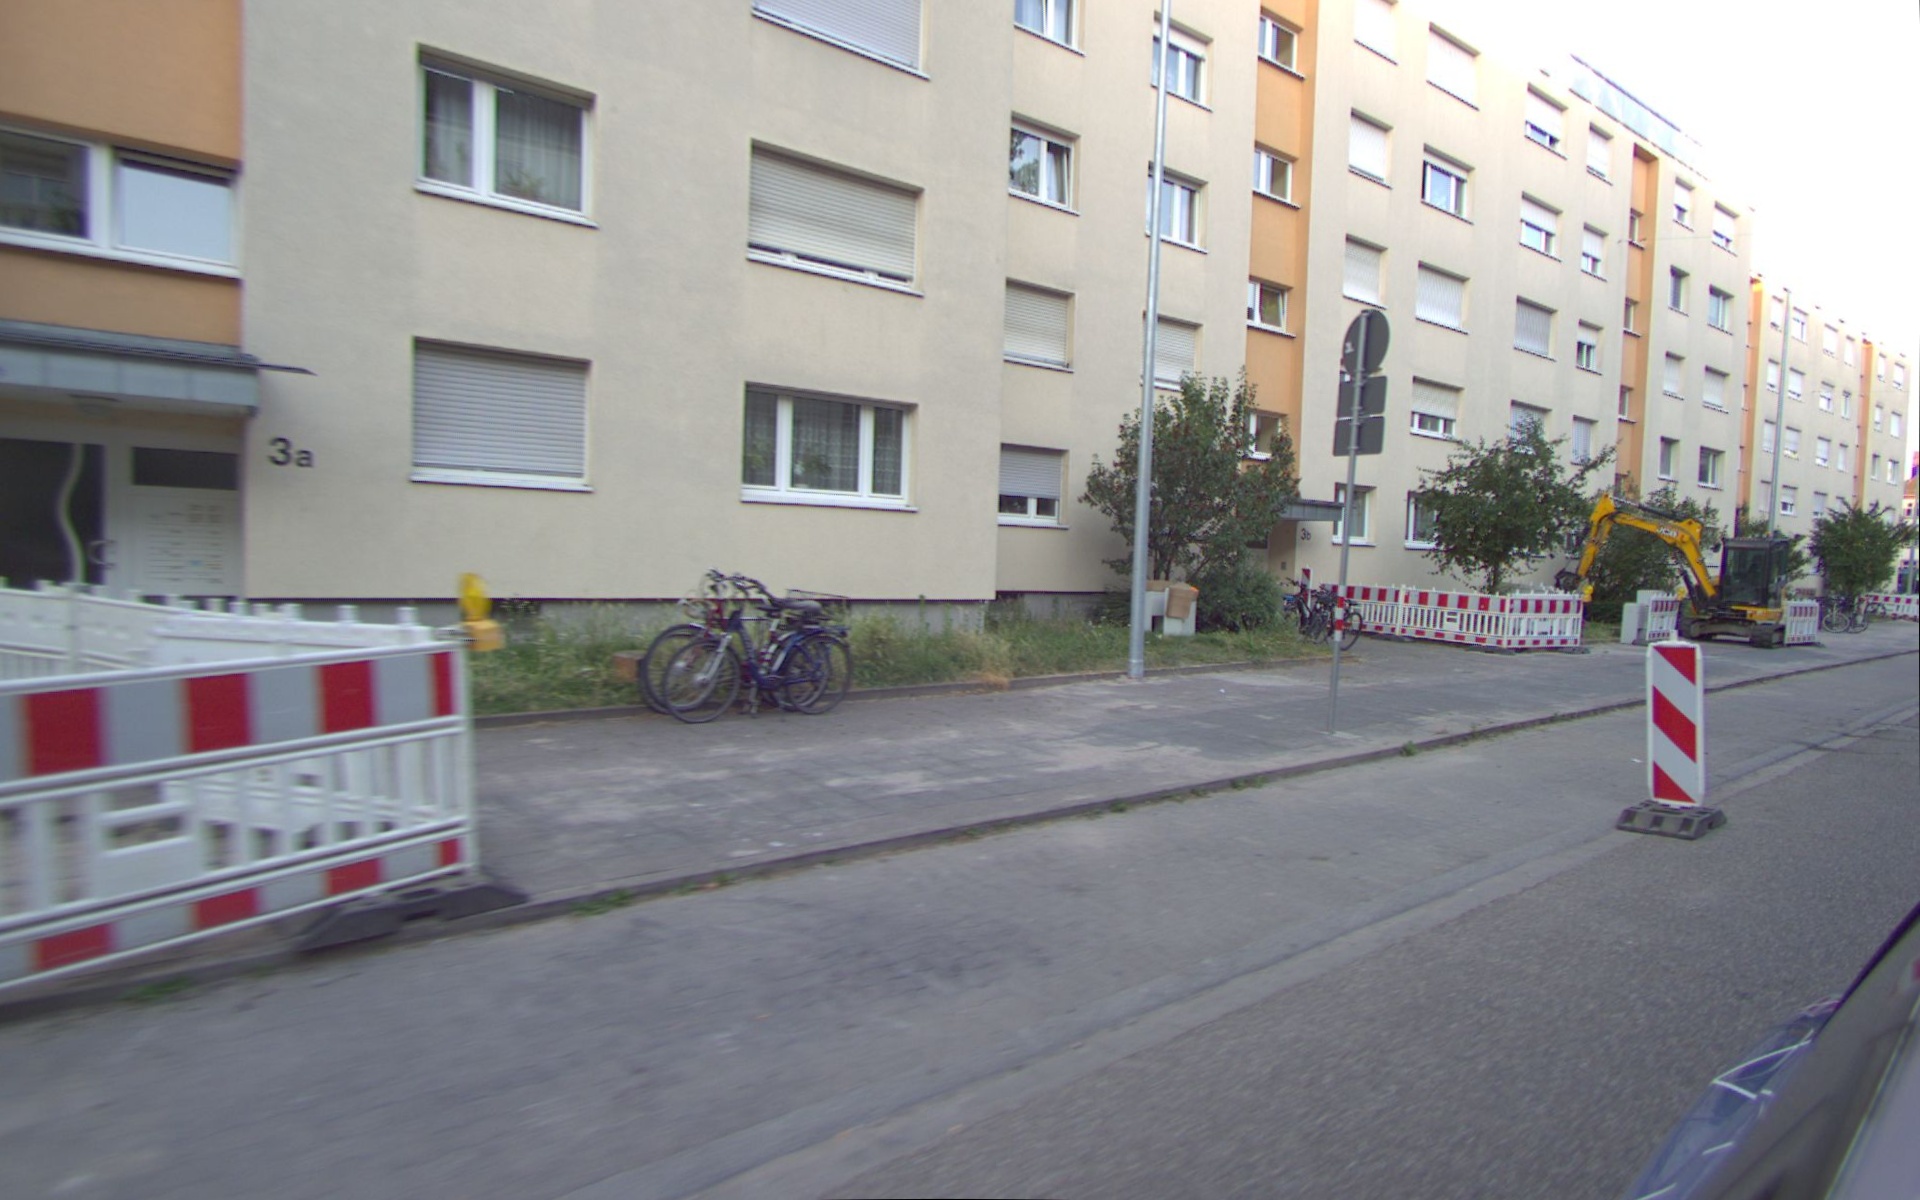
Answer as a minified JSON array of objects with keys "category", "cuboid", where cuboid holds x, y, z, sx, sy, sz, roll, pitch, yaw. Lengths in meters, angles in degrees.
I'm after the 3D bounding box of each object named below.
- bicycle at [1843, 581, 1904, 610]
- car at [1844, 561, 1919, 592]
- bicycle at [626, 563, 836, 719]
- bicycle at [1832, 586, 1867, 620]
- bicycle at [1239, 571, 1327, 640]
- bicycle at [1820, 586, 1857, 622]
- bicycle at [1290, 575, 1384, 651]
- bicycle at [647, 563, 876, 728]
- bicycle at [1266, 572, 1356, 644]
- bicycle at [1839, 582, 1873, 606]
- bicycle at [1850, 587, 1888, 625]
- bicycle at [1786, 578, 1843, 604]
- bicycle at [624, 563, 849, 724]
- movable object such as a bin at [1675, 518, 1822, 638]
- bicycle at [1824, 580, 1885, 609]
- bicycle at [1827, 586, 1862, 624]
[{"category":"bicycle","cuboid":[39.743,-0.209,44.046,0.547,1.034,1.818,-1,8,-37]},{"category":"car","cuboid":[69.904,-1.767,75.850,2.245,2.155,5.043,0,3,-31]},{"category":"bicycle","cuboid":[-1.943,0.315,8.792,1.794,1.237,0.398,0,2,-41]},{"category":"bicycle","cuboid":[31.975,0.096,36.382,1.783,1.186,0.558,0,2,-37]},{"category":"bicycle","cuboid":[5.830,0.089,18.235,1.783,1.186,0.558,0,2,-37]},{"category":"bicycle","cuboid":[30.454,0.124,35.064,1.783,1.186,0.558,0,2,-37]},{"category":"bicycle","cuboid":[6.312,0.198,16.913,1.783,1.186,0.558,0,2,-37]},{"category":"bicycle","cuboid":[-1.599,0.330,8.393,1.878,1.237,0.452,0,2,-41]},{"category":"bicycle","cuboid":[6.164,0.125,17.732,1.783,1.186,0.558,0,2,-37]},{"category":"bicycle","cuboid":[40.242,-0.268,45.454,0.552,0.874,1.604,7,7,22]},{"category":"bicycle","cuboid":[29.910,0.170,33.334,0.553,1.186,1.797,2,2,31]},{"category":"bicycle","cuboid":[37.996,-0.393,45.015,1.788,0.931,0.557,5,7,11]},{"category":"bicycle","cuboid":[-1.839,0.324,8.552,1.878,1.237,0.398,0,2,-41]},{"category":"movable object such as a bin","cuboid":[19.119,-0.544,24.539,2.836,2.726,1.941,0,3,-35]},{"category":"bicycle","cuboid":[38.198,-0.238,43.254,0.546,0.997,1.763,0,8,-29]},{"category":"bicycle","cuboid":[29.207,0.161,33.429,0.624,1.186,1.795,3,2,34]}]
